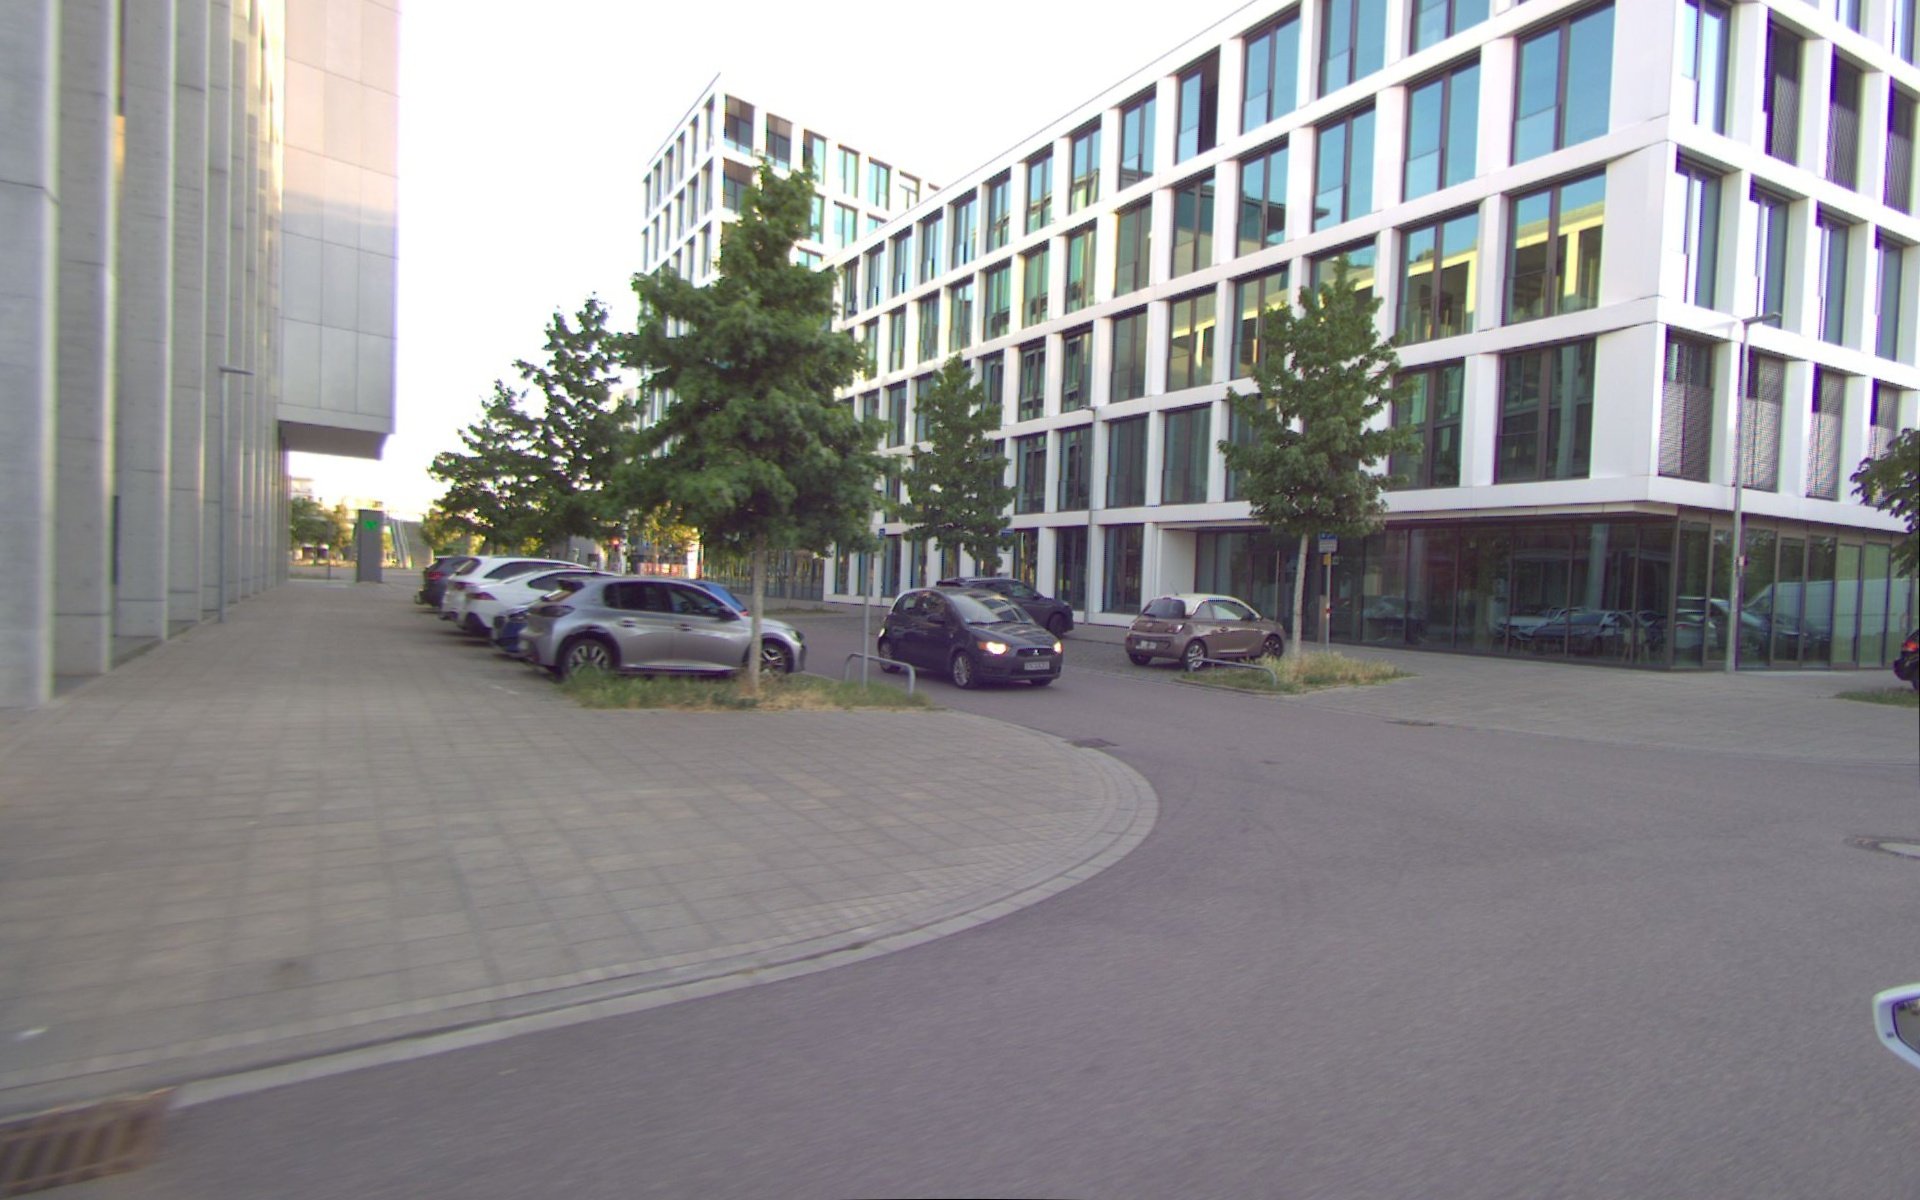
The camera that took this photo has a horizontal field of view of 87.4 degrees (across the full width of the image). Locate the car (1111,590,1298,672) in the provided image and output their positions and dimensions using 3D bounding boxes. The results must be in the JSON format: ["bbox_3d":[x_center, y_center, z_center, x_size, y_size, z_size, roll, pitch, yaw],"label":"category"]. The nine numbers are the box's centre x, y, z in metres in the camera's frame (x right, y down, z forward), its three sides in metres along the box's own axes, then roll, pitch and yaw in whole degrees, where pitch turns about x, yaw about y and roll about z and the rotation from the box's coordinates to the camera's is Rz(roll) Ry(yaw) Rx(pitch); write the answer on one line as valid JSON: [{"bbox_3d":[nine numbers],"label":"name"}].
[{"bbox_3d":[5.122,0.633,20.948,3.684,1.516,1.715,2,1,-33],"label":"car"}]

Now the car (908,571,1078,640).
[{"bbox_3d":[0.915,0.165,26.900,4.326,1.674,1.715,2,1,-33],"label":"car"}]

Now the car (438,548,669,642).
[{"bbox_3d":[-8.299,-0.067,20.641,4.096,1.650,1.633,3,0,-35],"label":"car"}]

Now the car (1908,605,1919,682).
[{"bbox_3d":[20.848,0.980,18.805,1.822,1.539,4.091,1,2,-28],"label":"car"}]

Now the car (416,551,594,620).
[{"bbox_3d":[-12.231,-0.362,27.074,4.096,1.594,1.633,3,0,-35],"label":"car"}]

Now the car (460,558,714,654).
[{"bbox_3d":[-6.841,0.137,18.596,4.096,1.511,1.633,3,0,-35],"label":"car"}]

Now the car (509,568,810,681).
[{"bbox_3d":[-4.242,0.379,14.380,3.781,1.404,1.633,3,0,-35],"label":"car"}]

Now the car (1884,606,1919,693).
[{"bbox_3d":[18.670,0.983,16.984,1.822,1.539,4.089,1,2,-29],"label":"car"}]

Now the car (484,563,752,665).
[{"bbox_3d":[-5.560,0.253,16.530,3.866,1.447,1.546,3,0,-35],"label":"car"}]

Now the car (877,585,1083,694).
[{"bbox_3d":[0.212,0.564,16.528,1.631,1.515,3.704,1,1,-32],"label":"car"}]
